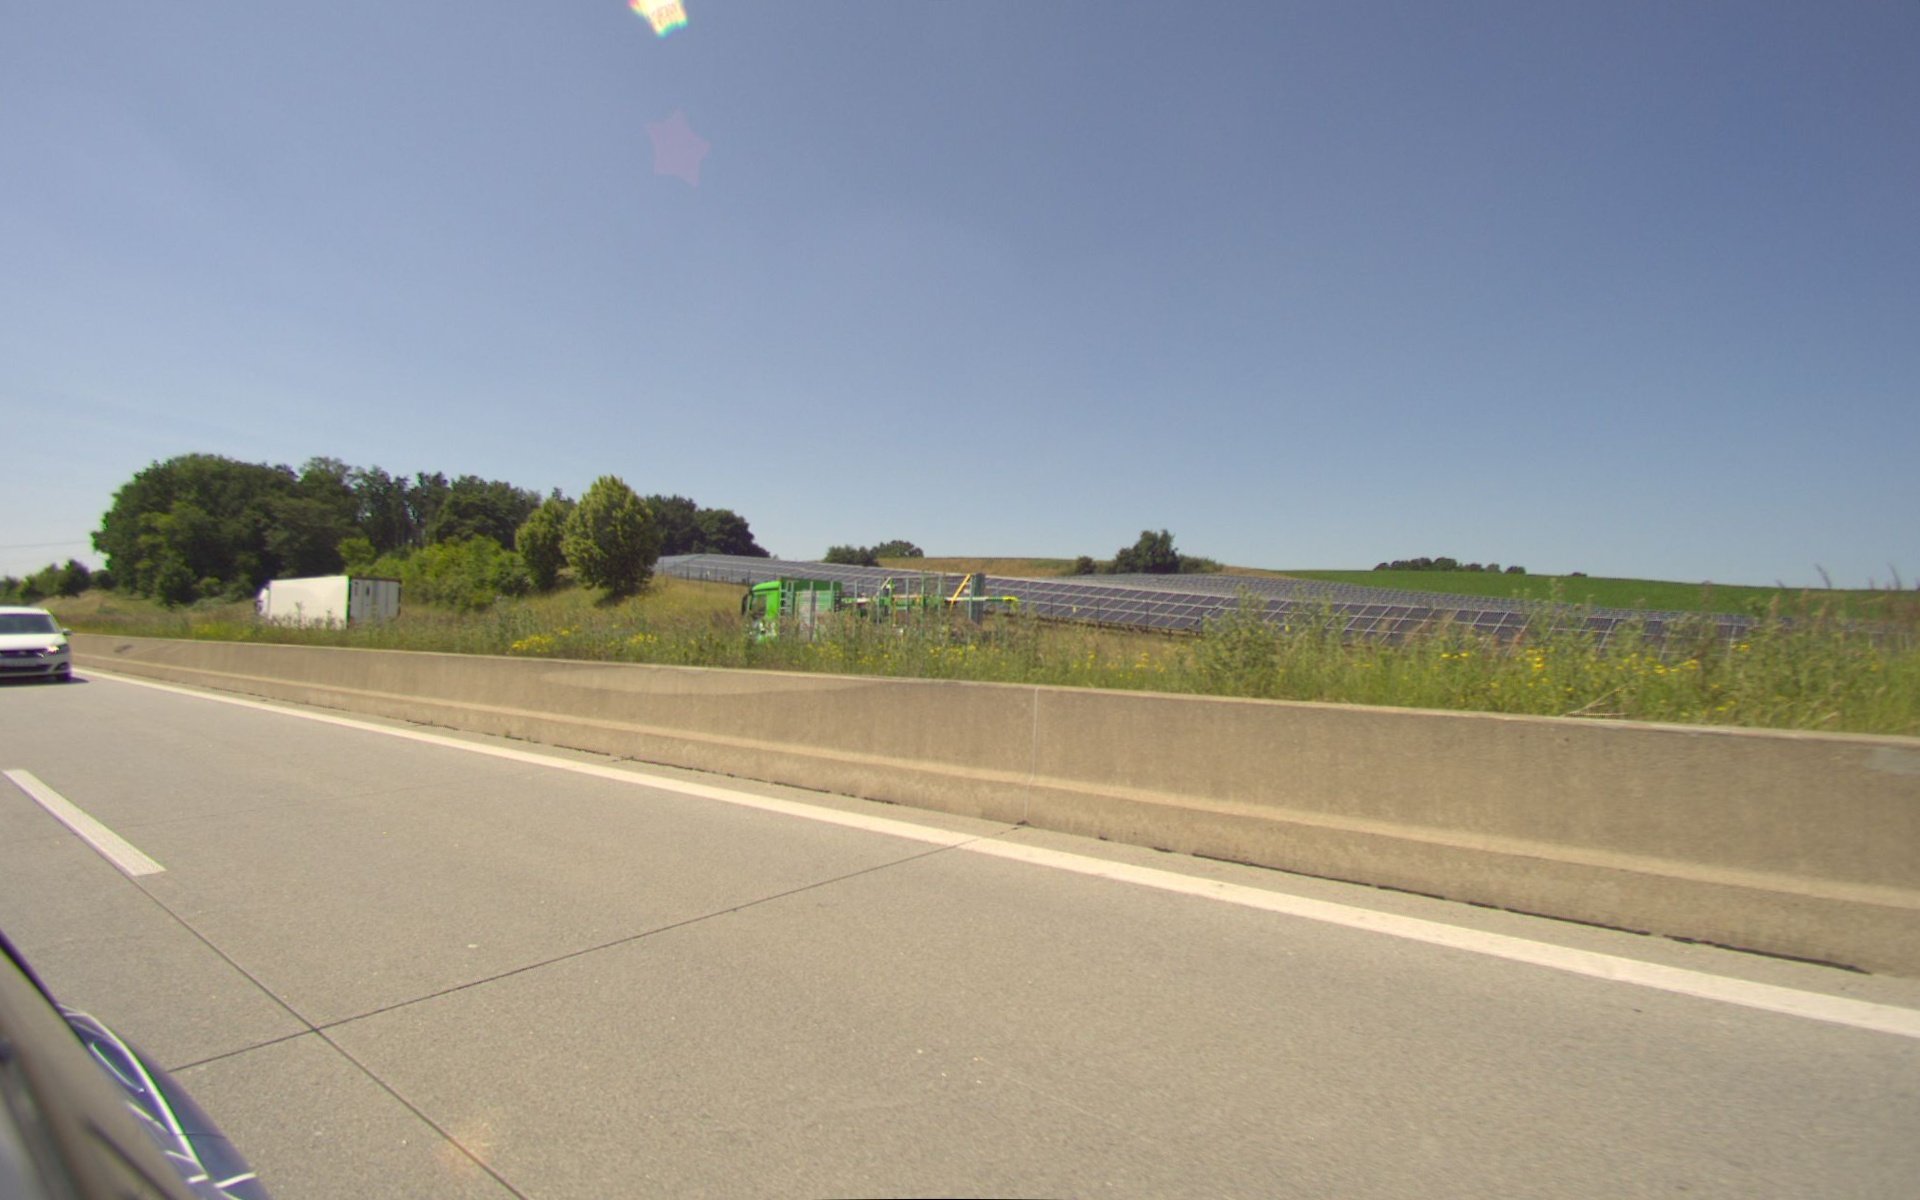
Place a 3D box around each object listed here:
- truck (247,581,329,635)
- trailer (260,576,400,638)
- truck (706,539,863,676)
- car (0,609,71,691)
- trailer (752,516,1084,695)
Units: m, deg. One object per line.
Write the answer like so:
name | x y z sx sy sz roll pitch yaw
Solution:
truck | -41.579 0.472 62.603 5.824 3.181 2.803 -1 0 41
trailer | -36.326 0.413 57.964 14.500 3.207 2.803 -1 0 42
truck | -5.564 0.236 31.826 4.351 3.981 2.716 -1 0 41
car | -22.319 1.079 23.428 6.033 1.721 1.826 -1 0 41
trailer | -1.576 0.216 28.297 10.252 4.223 2.704 -1 -1 41
